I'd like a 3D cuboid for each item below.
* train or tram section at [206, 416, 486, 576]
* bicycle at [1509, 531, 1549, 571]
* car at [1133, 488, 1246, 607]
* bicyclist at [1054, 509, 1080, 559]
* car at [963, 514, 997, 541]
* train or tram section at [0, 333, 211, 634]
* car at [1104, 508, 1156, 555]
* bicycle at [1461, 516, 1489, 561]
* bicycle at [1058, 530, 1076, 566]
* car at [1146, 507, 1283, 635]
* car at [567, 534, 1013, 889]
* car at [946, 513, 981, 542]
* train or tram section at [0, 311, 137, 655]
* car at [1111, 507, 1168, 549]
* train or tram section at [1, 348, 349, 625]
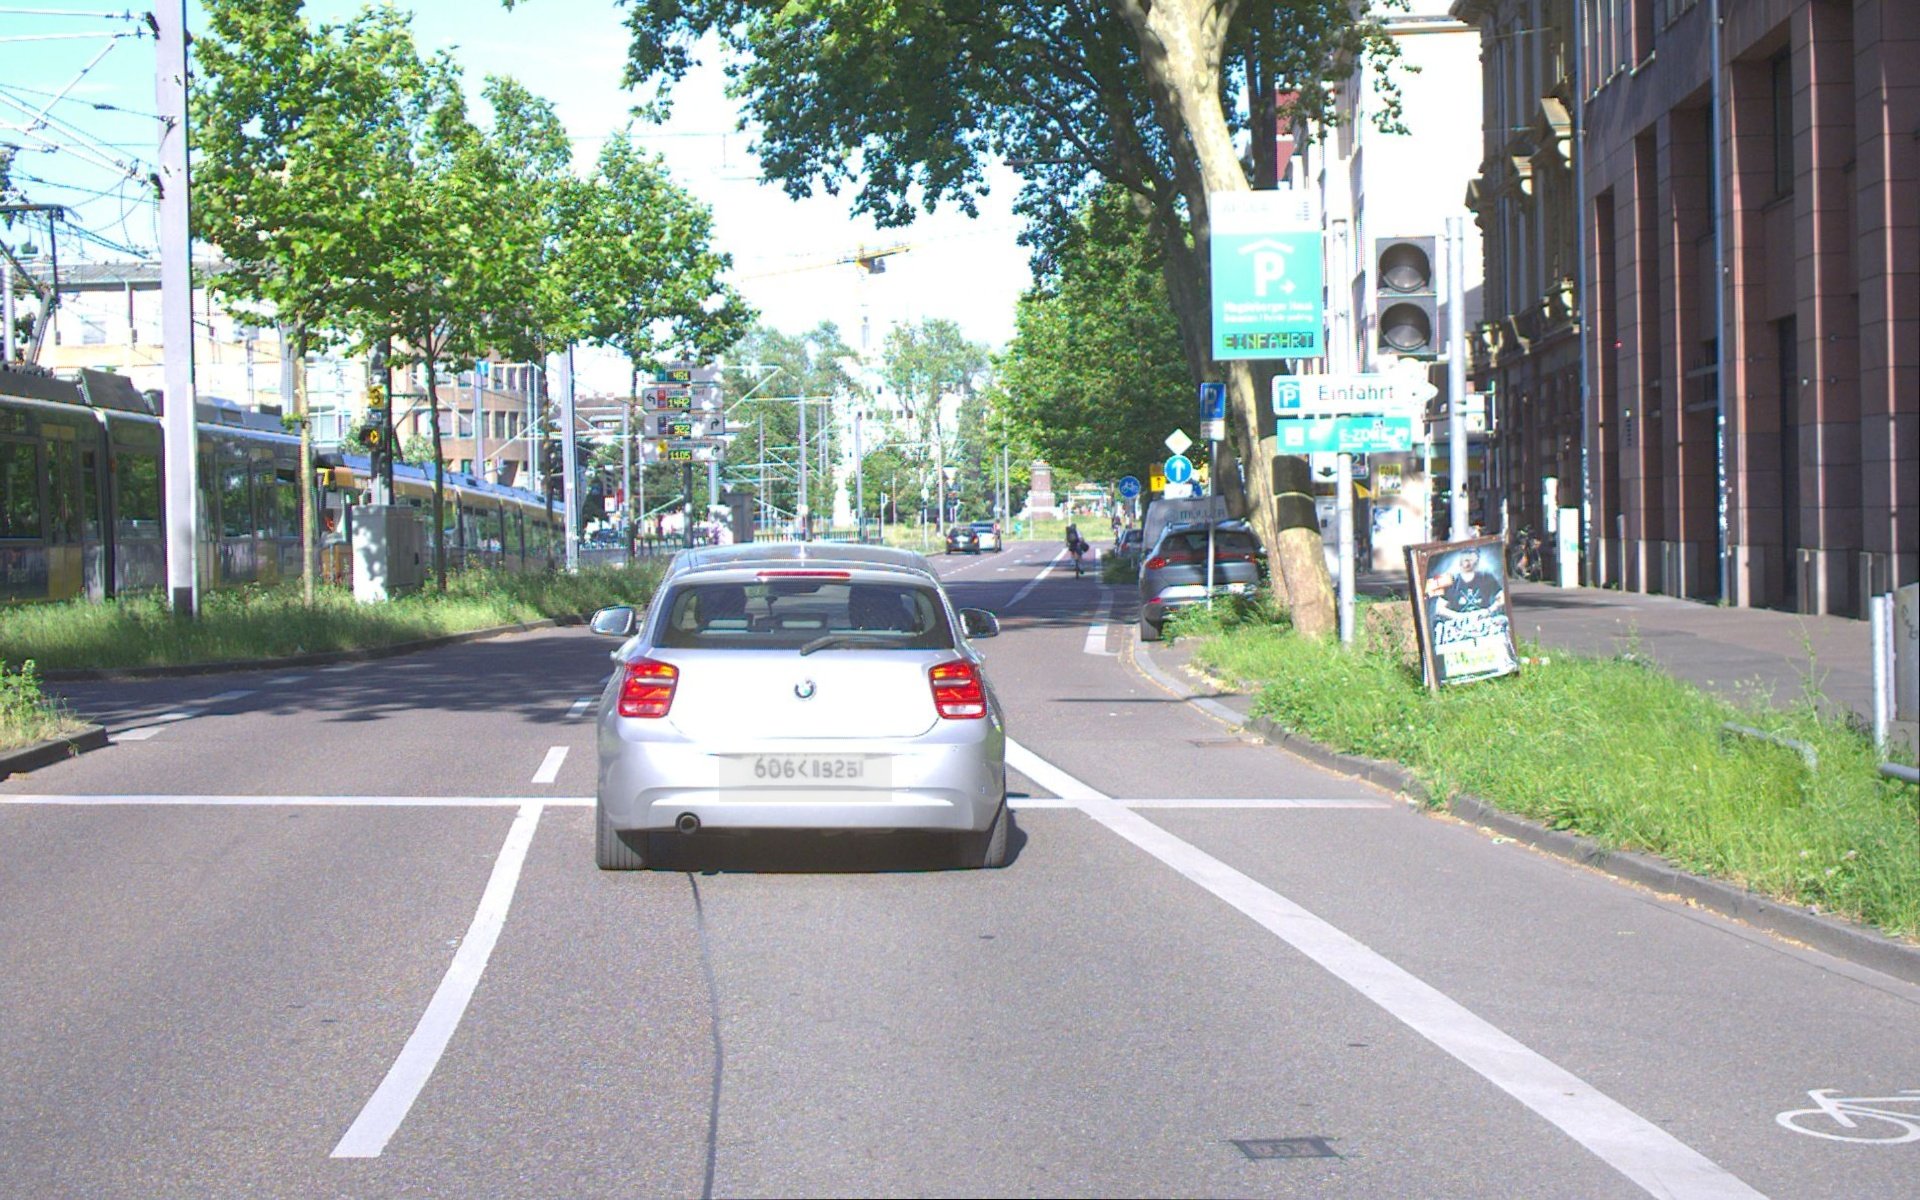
[{"bbox_3d":[-14.940,-2.580,86.016,2.963,3.471,21.219,0,2,1],"label":"train or tram section"},{"bbox_3d":[11.530,-0.990,69.693,0.549,0.771,1.663,-3,1,2],"label":"bicycle"},{"bbox_3d":[4.057,-0.952,61.432,1.856,2.007,4.724,1,1,2],"label":"car"},{"bbox_3d":[3.319,-2.045,106.500,0.785,1.526,0.895,1,1,2],"label":"bicyclist"},{"bbox_3d":[1.094,-3.910,184.582,1.644,1.416,4.000,0,1,2],"label":"car"},{"bbox_3d":[-12.105,-1.566,46.714,2.955,3.883,3.866,1,1,0],"label":"train or tram section"},{"bbox_3d":[5.933,-2.394,120.090,1.694,1.497,3.801,-3,2,2],"label":"car"},{"bbox_3d":[11.554,-1.394,77.131,0.414,0.994,1.882,0,1,2],"label":"bicycle"},{"bbox_3d":[3.319,-1.623,106.407,0.499,1.084,1.997,1,1,2],"label":"bicycle"},{"bbox_3d":[3.291,-0.404,44.750,1.668,1.565,4.279,1,1,4],"label":"car"},{"bbox_3d":[-0.739,0.417,16.037,1.798,1.410,4.000,1,1,-1],"label":"car"},{"bbox_3d":[0.167,-3.709,176.280,1.726,1.465,4.411,0,1,0],"label":"car"},{"bbox_3d":[-12.073,-1.303,37.585,2.928,3.799,14.275,1,1,-1],"label":"train or tram section"},{"bbox_3d":[6.648,-2.671,127.655,2.038,1.504,4.594,-1,2,2],"label":"car"},{"bbox_3d":[-12.077,-1.732,54.104,2.952,3.883,10.803,1,1,0],"label":"train or tram section"}]
